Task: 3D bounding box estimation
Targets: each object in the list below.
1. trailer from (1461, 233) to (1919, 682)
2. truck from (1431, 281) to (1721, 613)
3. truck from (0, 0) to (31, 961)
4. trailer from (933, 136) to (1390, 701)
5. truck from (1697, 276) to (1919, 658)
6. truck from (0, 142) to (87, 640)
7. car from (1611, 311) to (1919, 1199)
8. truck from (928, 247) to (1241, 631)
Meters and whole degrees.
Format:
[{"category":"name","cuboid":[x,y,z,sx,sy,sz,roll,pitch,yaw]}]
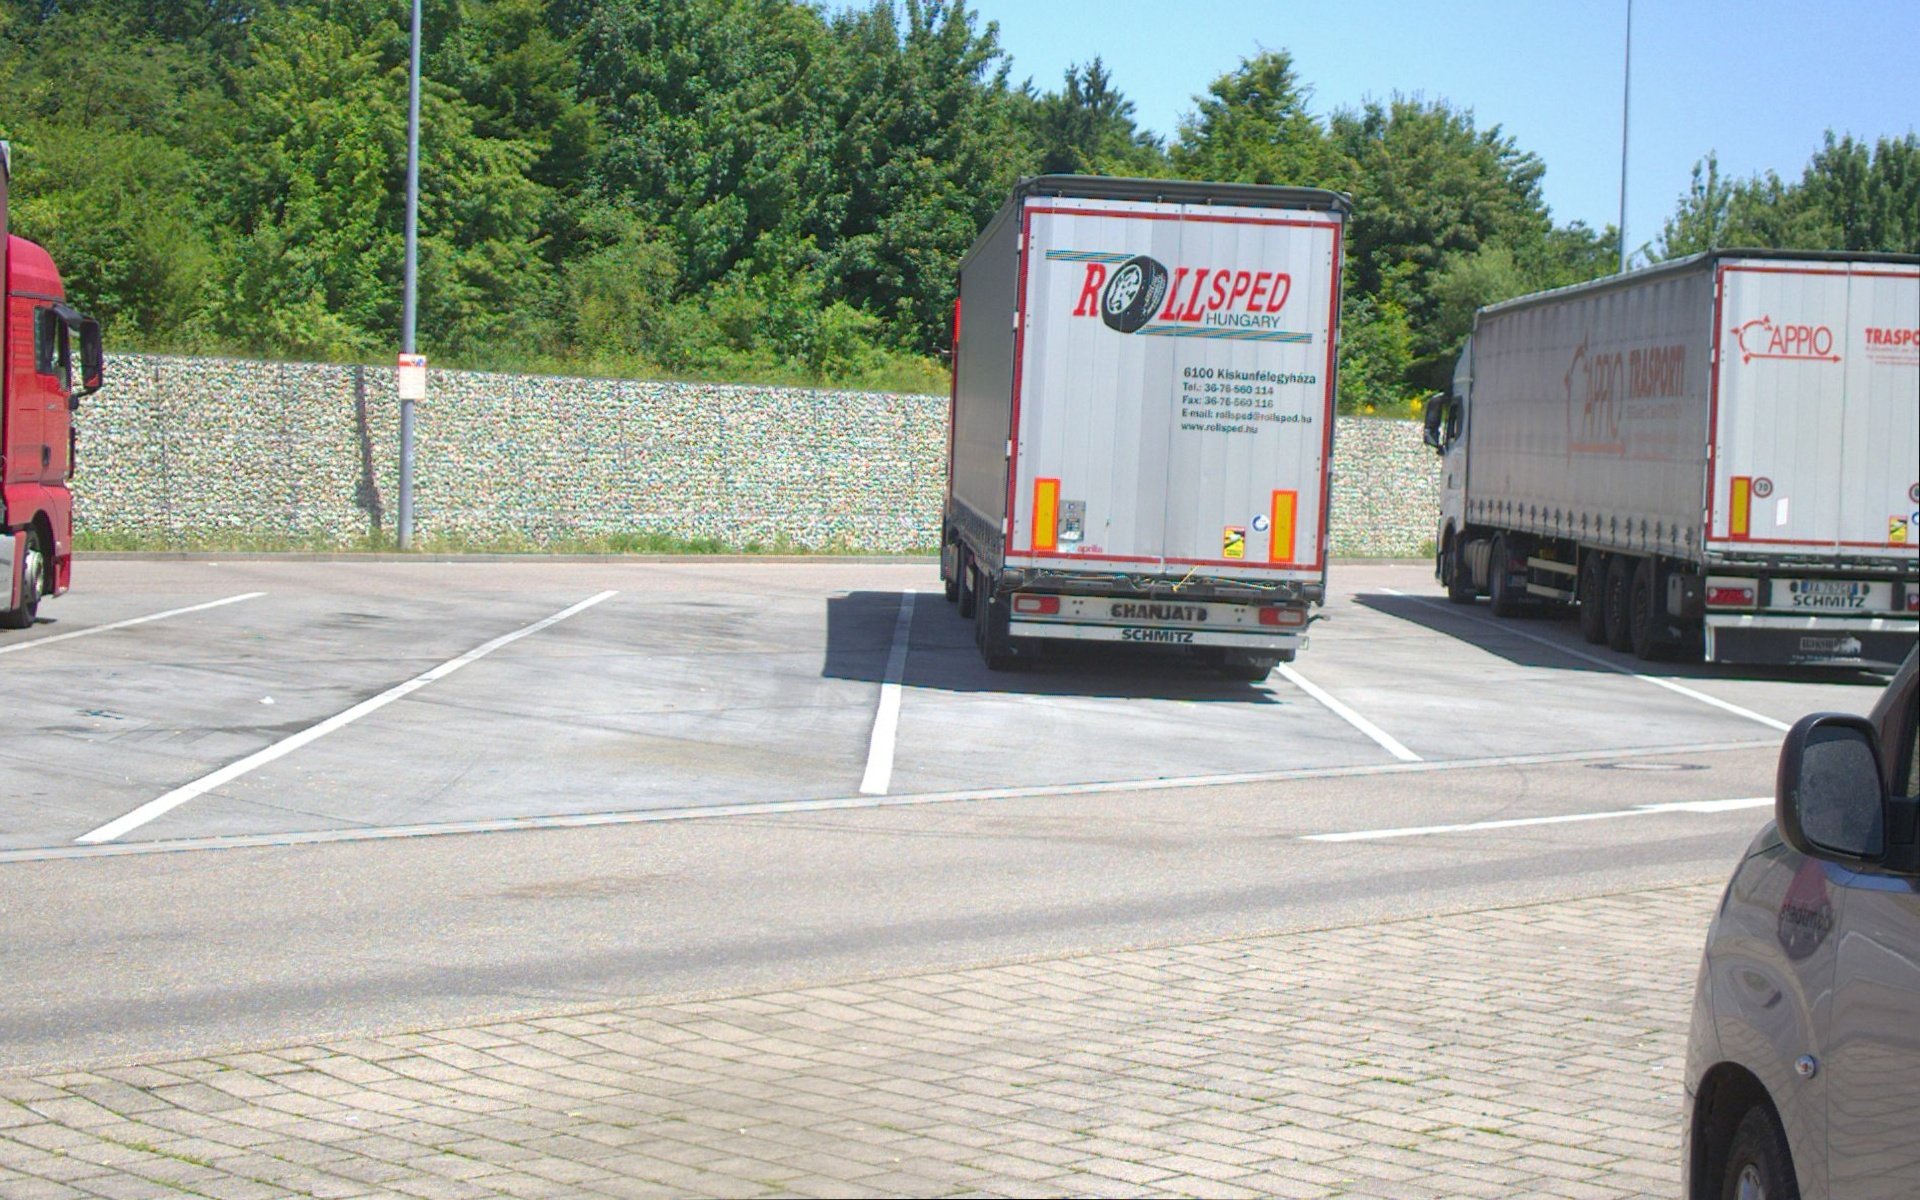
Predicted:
[{"category":"trailer","cuboid":[8.148,-1.538,38.481,2.876,4.110,13.572,1,2,-1]},{"category":"truck","cuboid":[8.035,-1.991,45.475,2.757,4.110,5.285,1,2,-1]},{"category":"truck","cuboid":[-7.390,-0.926,7.431,2.692,4.113,10.579,2,2,43]},{"category":"trailer","cuboid":[1.486,-1.698,32.643,3.069,4.213,12.810,2,3,-2]},{"category":"truck","cuboid":[11.738,-1.476,39.812,2.904,4.110,14.528,3,2,-1]},{"category":"truck","cuboid":[-9.223,-1.703,27.660,2.743,4.067,6.830,1,2,-1]},{"category":"car","cuboid":[2.145,0.540,3.800,1.825,1.747,4.001,1,2,-4]},{"category":"truck","cuboid":[1.271,-1.857,39.411,3.026,3.915,6.847,2,3,-2]}]
